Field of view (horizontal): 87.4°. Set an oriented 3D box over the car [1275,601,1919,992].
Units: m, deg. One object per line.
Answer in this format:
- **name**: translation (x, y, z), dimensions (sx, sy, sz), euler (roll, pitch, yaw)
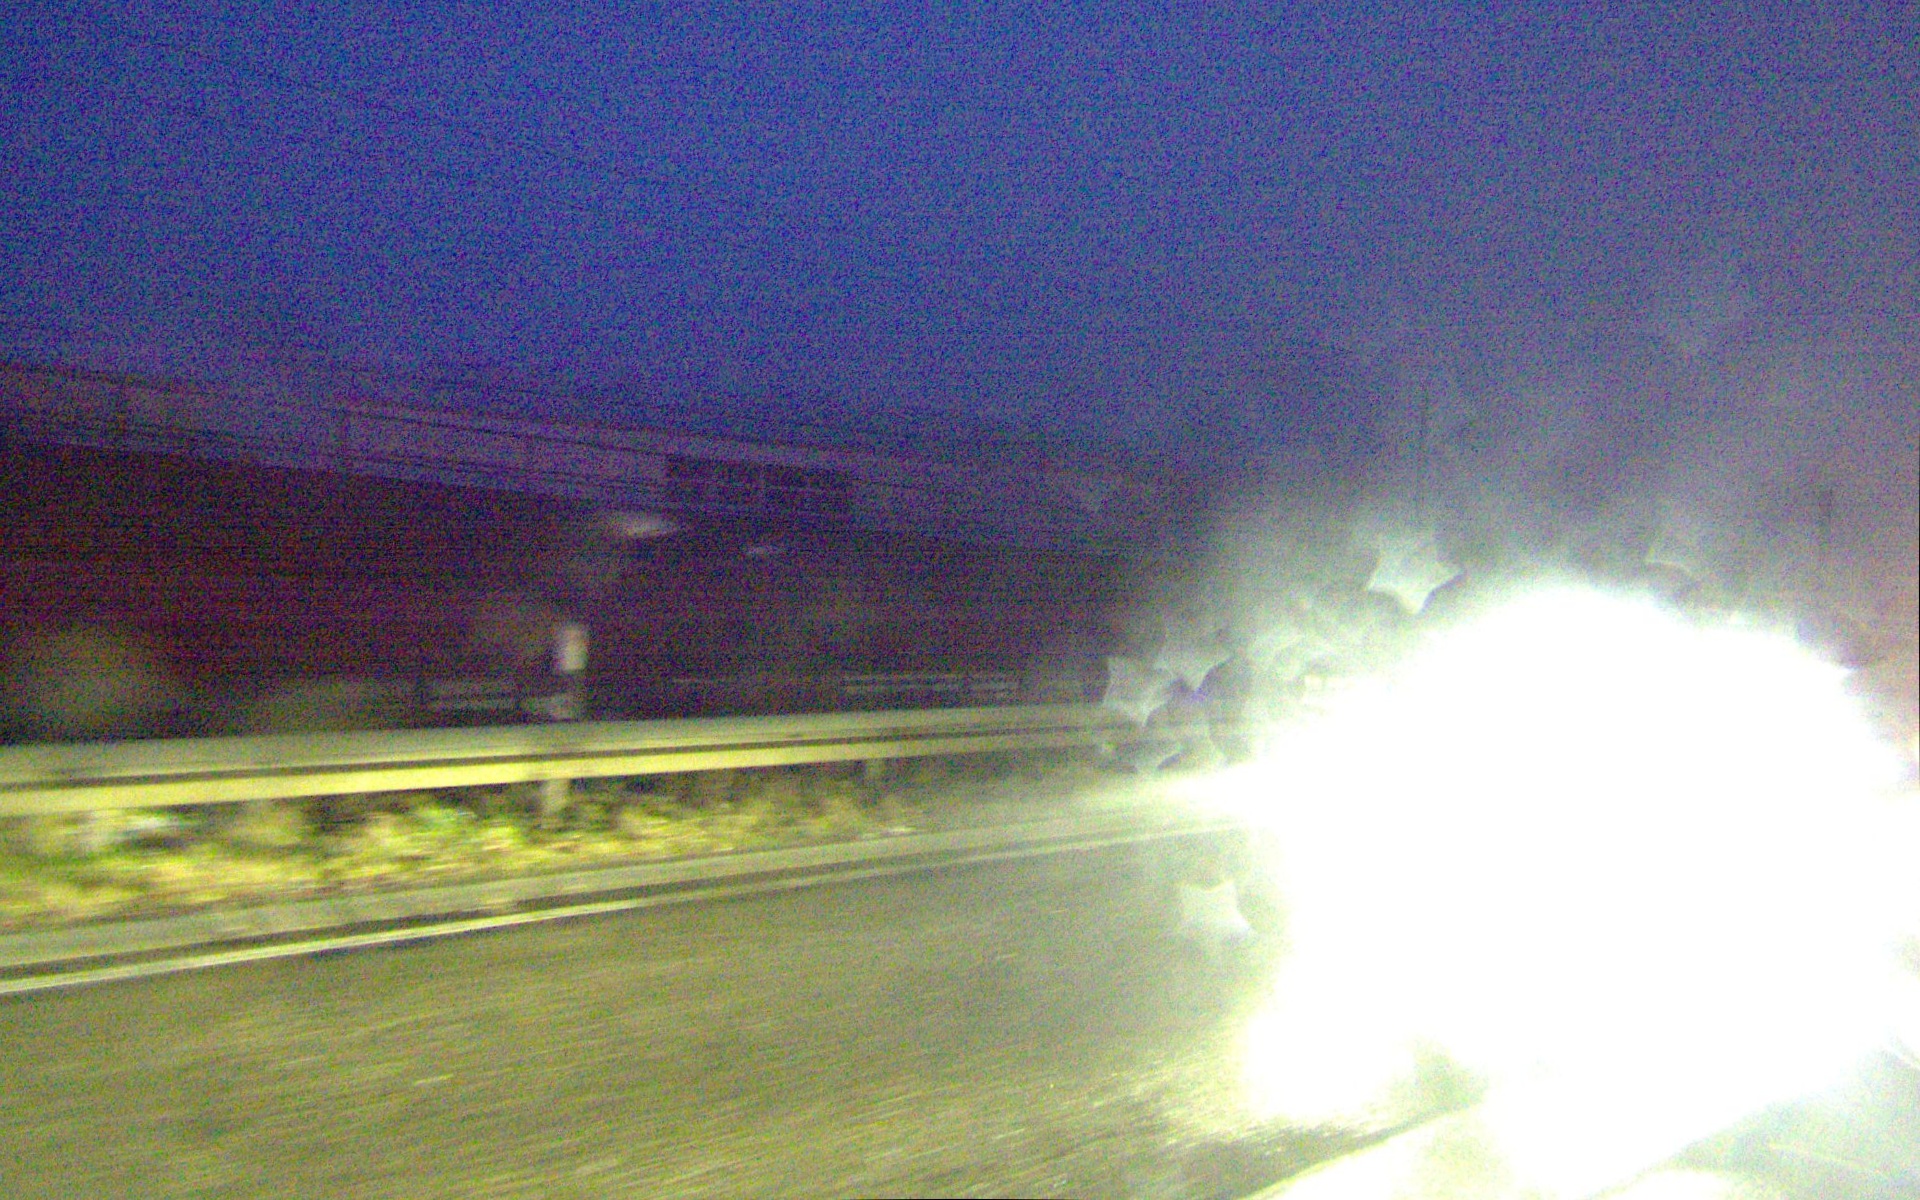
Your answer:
- **car**: translation (4.074, 0.836, 5.905), dimensions (4.226, 1.490, 1.894), euler (2, 1, -31)
